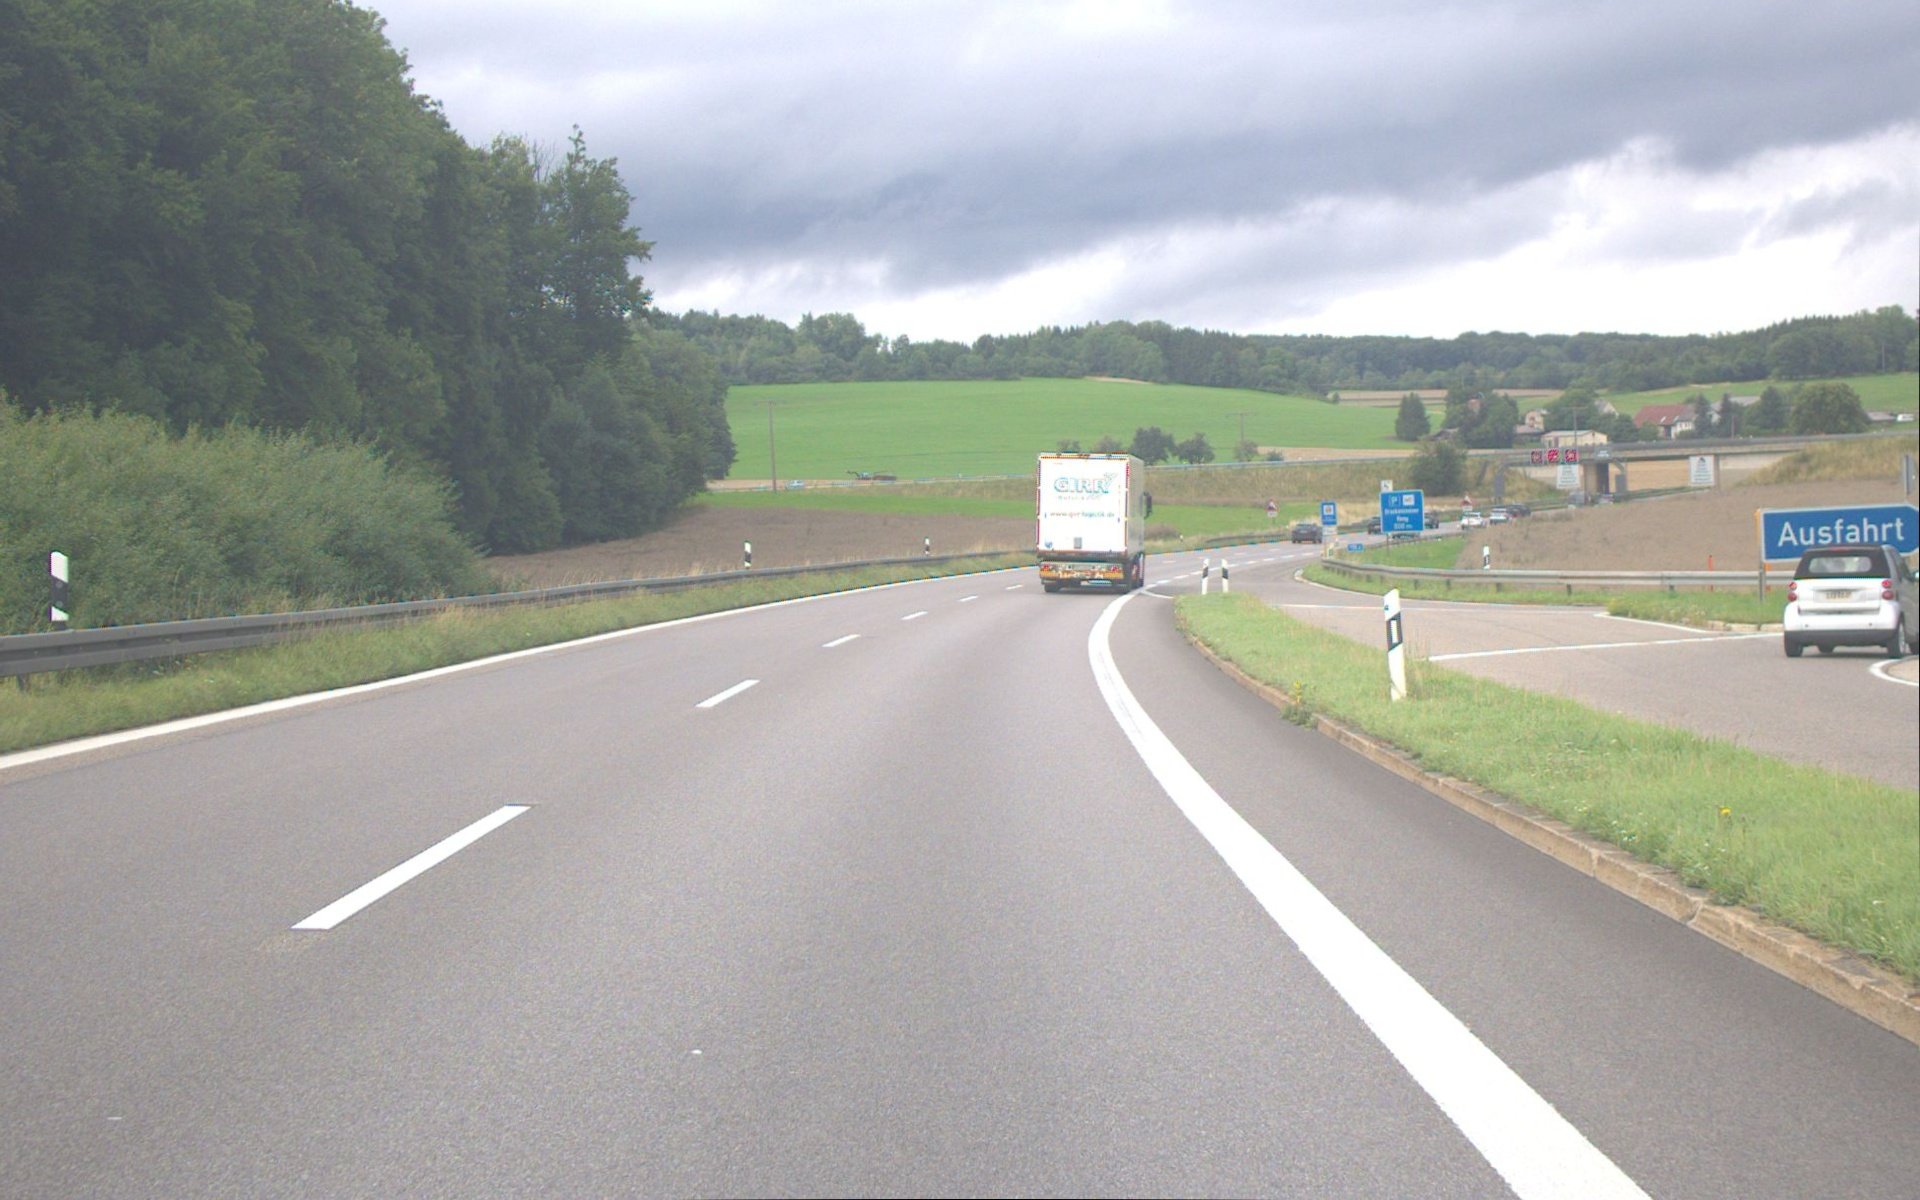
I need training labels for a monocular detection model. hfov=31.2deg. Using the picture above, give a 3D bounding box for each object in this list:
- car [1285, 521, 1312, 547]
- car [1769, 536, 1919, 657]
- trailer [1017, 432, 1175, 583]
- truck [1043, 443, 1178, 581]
[{"bbox_3d":[25.323,-4.952,257.357,1.903,1.789,3.999,0,-1,7],"label":"car"},{"bbox_3d":[12.659,-0.080,47.876,1.780,1.546,3.994,0,2,27],"label":"car"},{"bbox_3d":[4.232,-2.709,102.655,3.806,4.160,14.805,1,1,6],"label":"trailer"},{"bbox_3d":[4.885,-2.806,109.974,3.788,4.117,8.263,2,1,5],"label":"truck"}]
